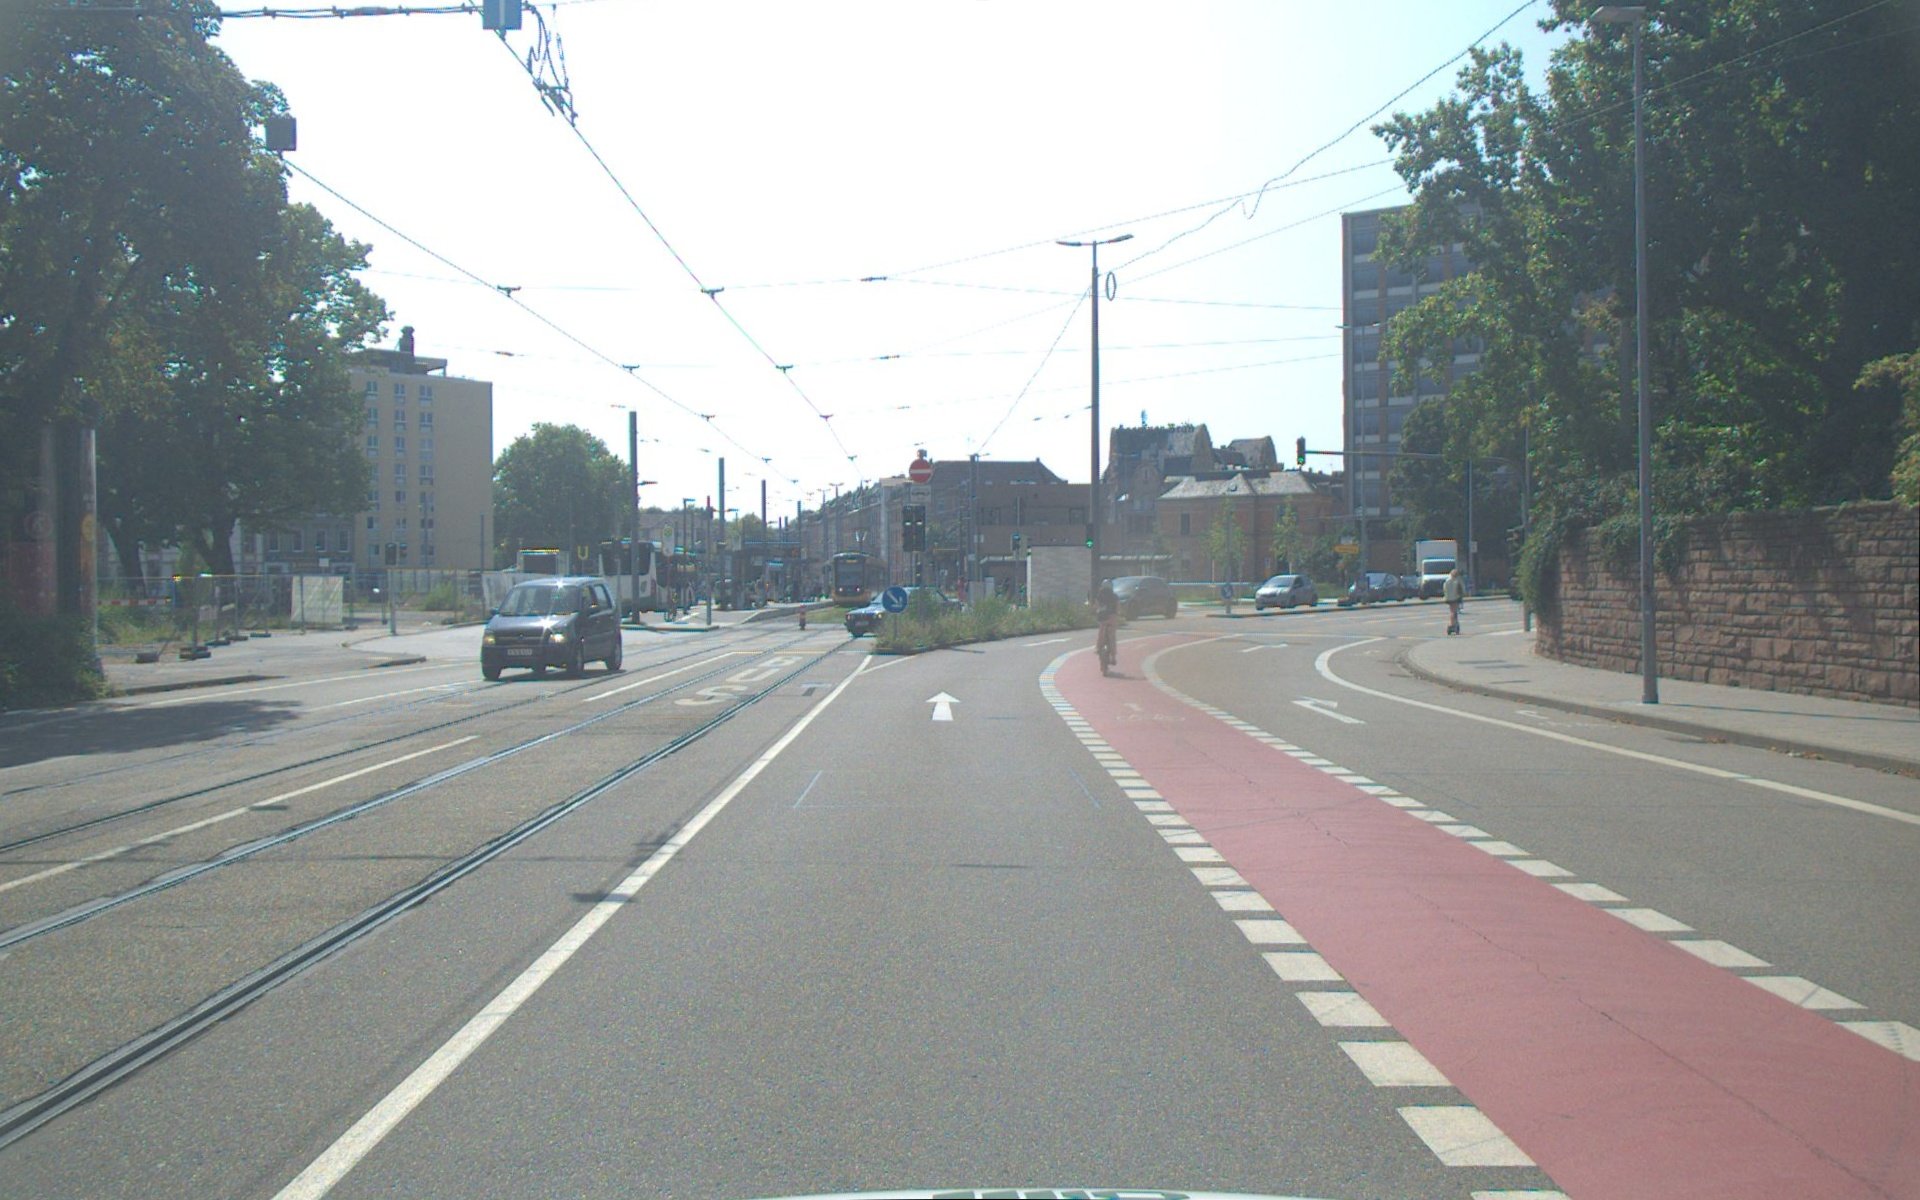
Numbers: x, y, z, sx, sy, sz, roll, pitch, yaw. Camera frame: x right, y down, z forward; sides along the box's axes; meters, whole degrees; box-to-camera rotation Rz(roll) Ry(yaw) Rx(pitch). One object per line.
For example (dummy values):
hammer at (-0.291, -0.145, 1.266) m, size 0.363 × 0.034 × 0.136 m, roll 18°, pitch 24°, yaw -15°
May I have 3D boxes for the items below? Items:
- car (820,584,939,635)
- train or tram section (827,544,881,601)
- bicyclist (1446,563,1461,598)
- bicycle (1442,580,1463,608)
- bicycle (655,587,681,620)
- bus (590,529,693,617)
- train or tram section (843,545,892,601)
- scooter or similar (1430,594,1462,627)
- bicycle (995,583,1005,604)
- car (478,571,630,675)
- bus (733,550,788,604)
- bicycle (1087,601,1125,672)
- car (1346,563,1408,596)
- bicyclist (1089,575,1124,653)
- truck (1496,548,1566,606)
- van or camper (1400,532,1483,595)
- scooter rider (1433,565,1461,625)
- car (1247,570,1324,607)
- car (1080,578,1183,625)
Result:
car at (-2.339, 0.253, 49.127) m, size 1.654 × 1.402 × 4.616 m, roll 0°, pitch 1°, yaw 23°
train or tram section at (-7.125, -1.863, 113.712) m, size 2.798 × 3.610 × 17.740 m, roll 0°, pitch 1°, yaw -1°
bicyclist at (20.708, -0.816, 69.392) m, size 0.442 × 1.446 × 0.494 m, roll -1°, pitch 1°, yaw 33°
bicycle at (20.638, -0.243, 69.265) m, size 0.436 × 1.136 × 1.442 m, roll -1°, pitch 1°, yaw 33°
bicycle at (-11.202, 0.132, 63.526) m, size 0.594 × 1.244 × 1.706 m, roll -1°, pitch 1°, yaw 3°
bus at (-14.621, -1.235, 76.777) m, size 2.898 × 3.840 × 10.595 m, roll 0°, pitch 1°, yaw -1°
train or tram section at (-7.229, -2.151, 132.153) m, size 2.827 × 4.139 × 19.141 m, roll 0°, pitch 1°, yaw 0°
scooter or similar at (14.715, 0.314, 50.053) m, size 0.756 × 0.942 × 1.620 m, roll 0°, pitch 1°, yaw 23°
bicycle at (1.977, -0.335, 81.860) m, size 0.454 × 1.050 × 1.548 m, roll 0°, pitch 1°, yaw 1°
car at (-6.909, 0.346, 28.493) m, size 1.656 × 1.684 × 3.582 m, roll 0°, pitch 1°, yaw 1°
bus at (-14.651, -1.712, 122.292) m, size 2.654 × 3.792 × 10.420 m, roll 0°, pitch 1°, yaw 1°
bicycle at (2.603, 0.632, 29.358) m, size 0.591 × 1.183 × 1.812 m, roll -1°, pitch 1°, yaw 7°
car at (20.720, -1.014, 82.067) m, size 1.667 × 1.557 × 4.170 m, roll 0°, pitch 1°, yaw 34°
bicyclist at (2.605, 0.239, 29.417) m, size 0.590 × 1.358 × 0.660 m, roll -1°, pitch 1°, yaw 6°
truck at (31.041, -1.239, 89.816) m, size 2.645 × 3.042 × 5.957 m, roll 0°, pitch 1°, yaw 29°
van or camper at (27.040, -2.054, 92.700) m, size 2.358 × 3.364 × 7.168 m, roll -1°, pitch 1°, yaw 34°
scooter rider at (14.755, -0.167, 50.139) m, size 0.747 × 1.806 × 0.555 m, roll 0°, pitch 1°, yaw 24°
car at (14.323, -0.518, 72.684) m, size 1.623 × 1.557 × 4.308 m, roll 0°, pitch 1°, yaw 37°
car at (6.429, 0.022, 61.547) m, size 1.742 × 1.638 × 4.657 m, roll 0°, pitch 1°, yaw 35°
